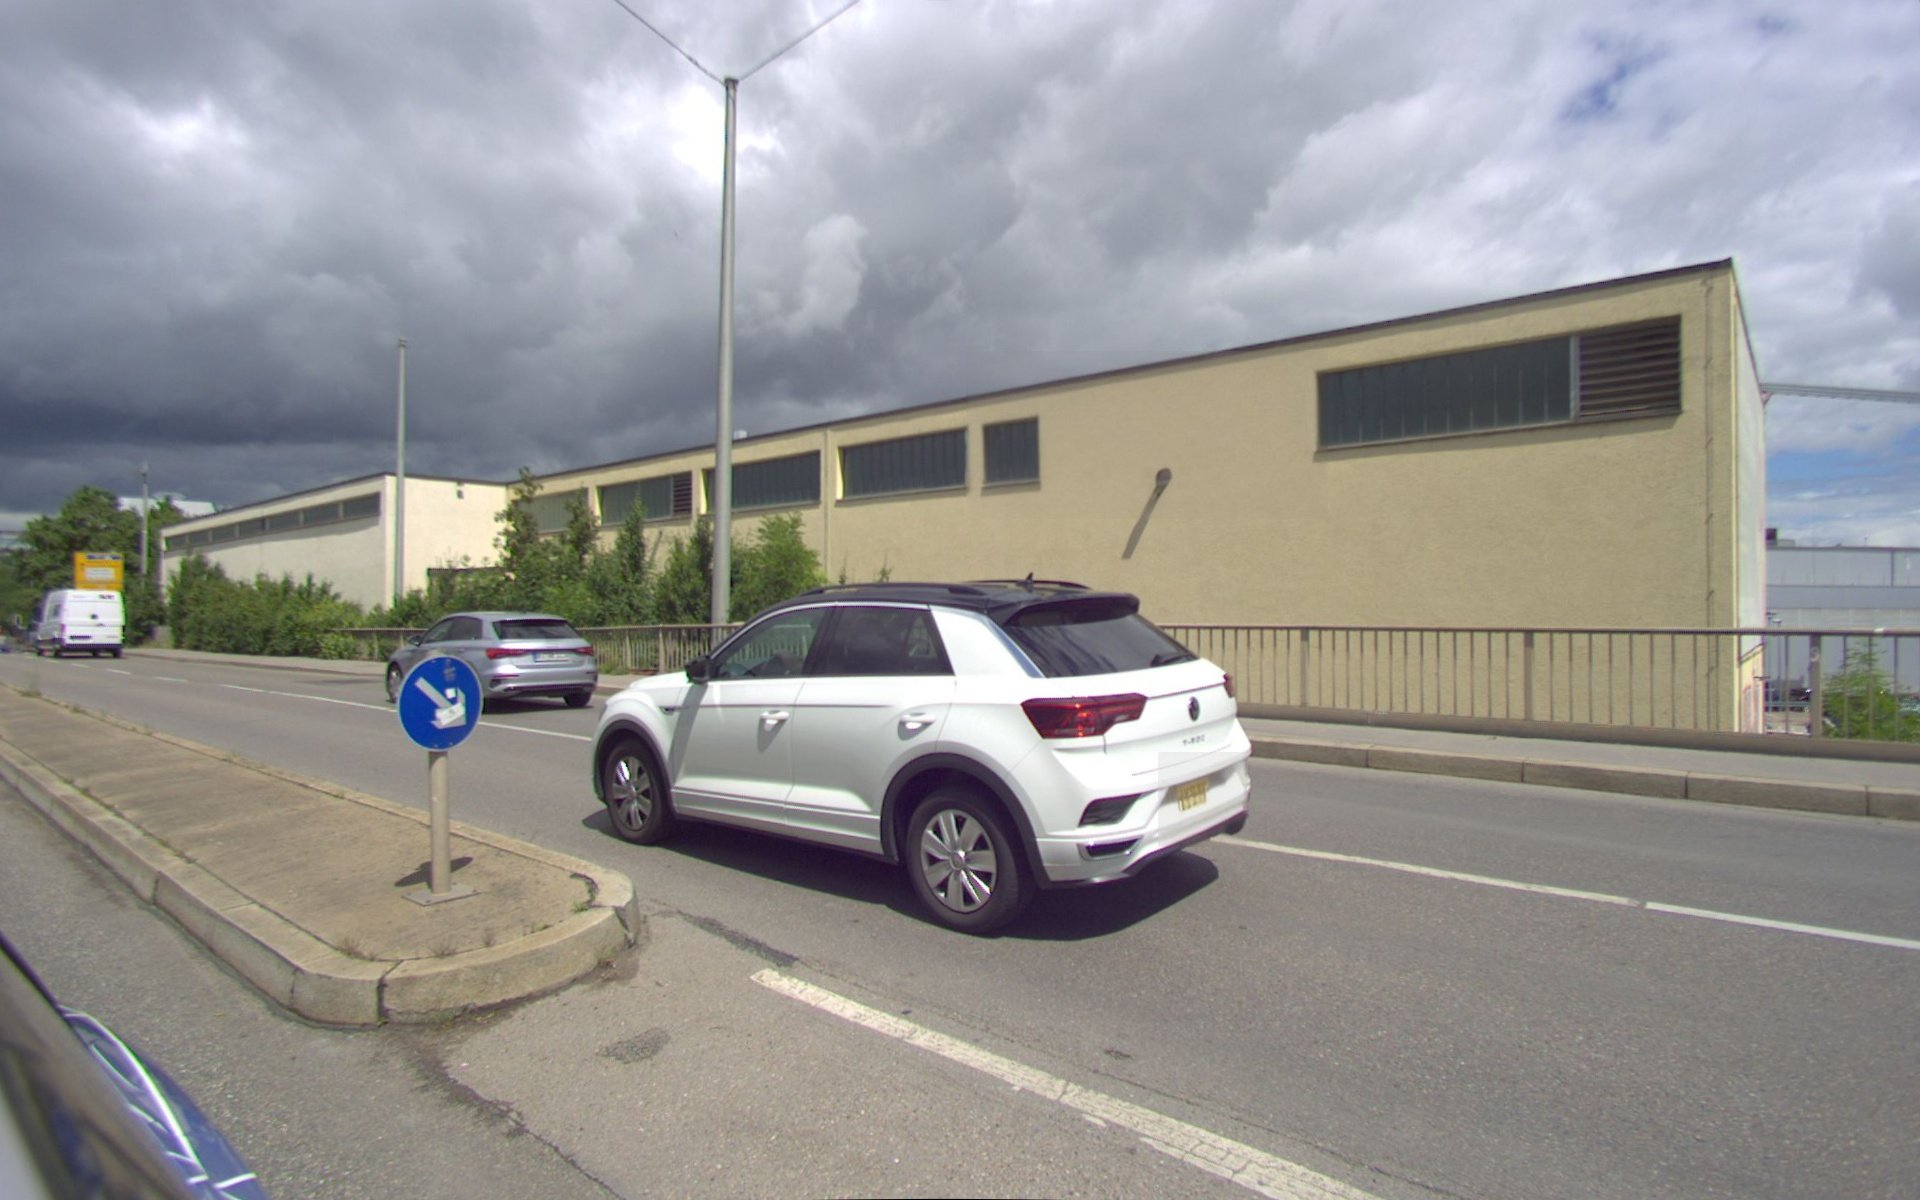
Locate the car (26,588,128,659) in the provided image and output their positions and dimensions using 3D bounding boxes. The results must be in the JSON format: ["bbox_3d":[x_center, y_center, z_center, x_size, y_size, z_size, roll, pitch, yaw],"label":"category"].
[{"bbox_3d":[-34.711,0.928,39.714,6.818,2.591,2.045,-1,-3,41],"label":"car"}]

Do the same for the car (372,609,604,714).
[{"bbox_3d":[-7.197,0.847,15.251,4.192,1.374,1.620,-1,-2,41],"label":"car"}]

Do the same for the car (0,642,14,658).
[{"bbox_3d":[-80.964,4.175,85.207,1.734,1.285,4.002,4,-4,-45],"label":"car"}]

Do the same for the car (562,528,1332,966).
[{"bbox_3d":[-0.333,0.536,5.689,4.204,1.572,1.791,-1,0,41],"label":"car"}]

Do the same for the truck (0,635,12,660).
[{"bbox_3d":[-126.505,6.350,132.708,2.820,2.879,9.389,0,-5,-41],"label":"truck"}]
